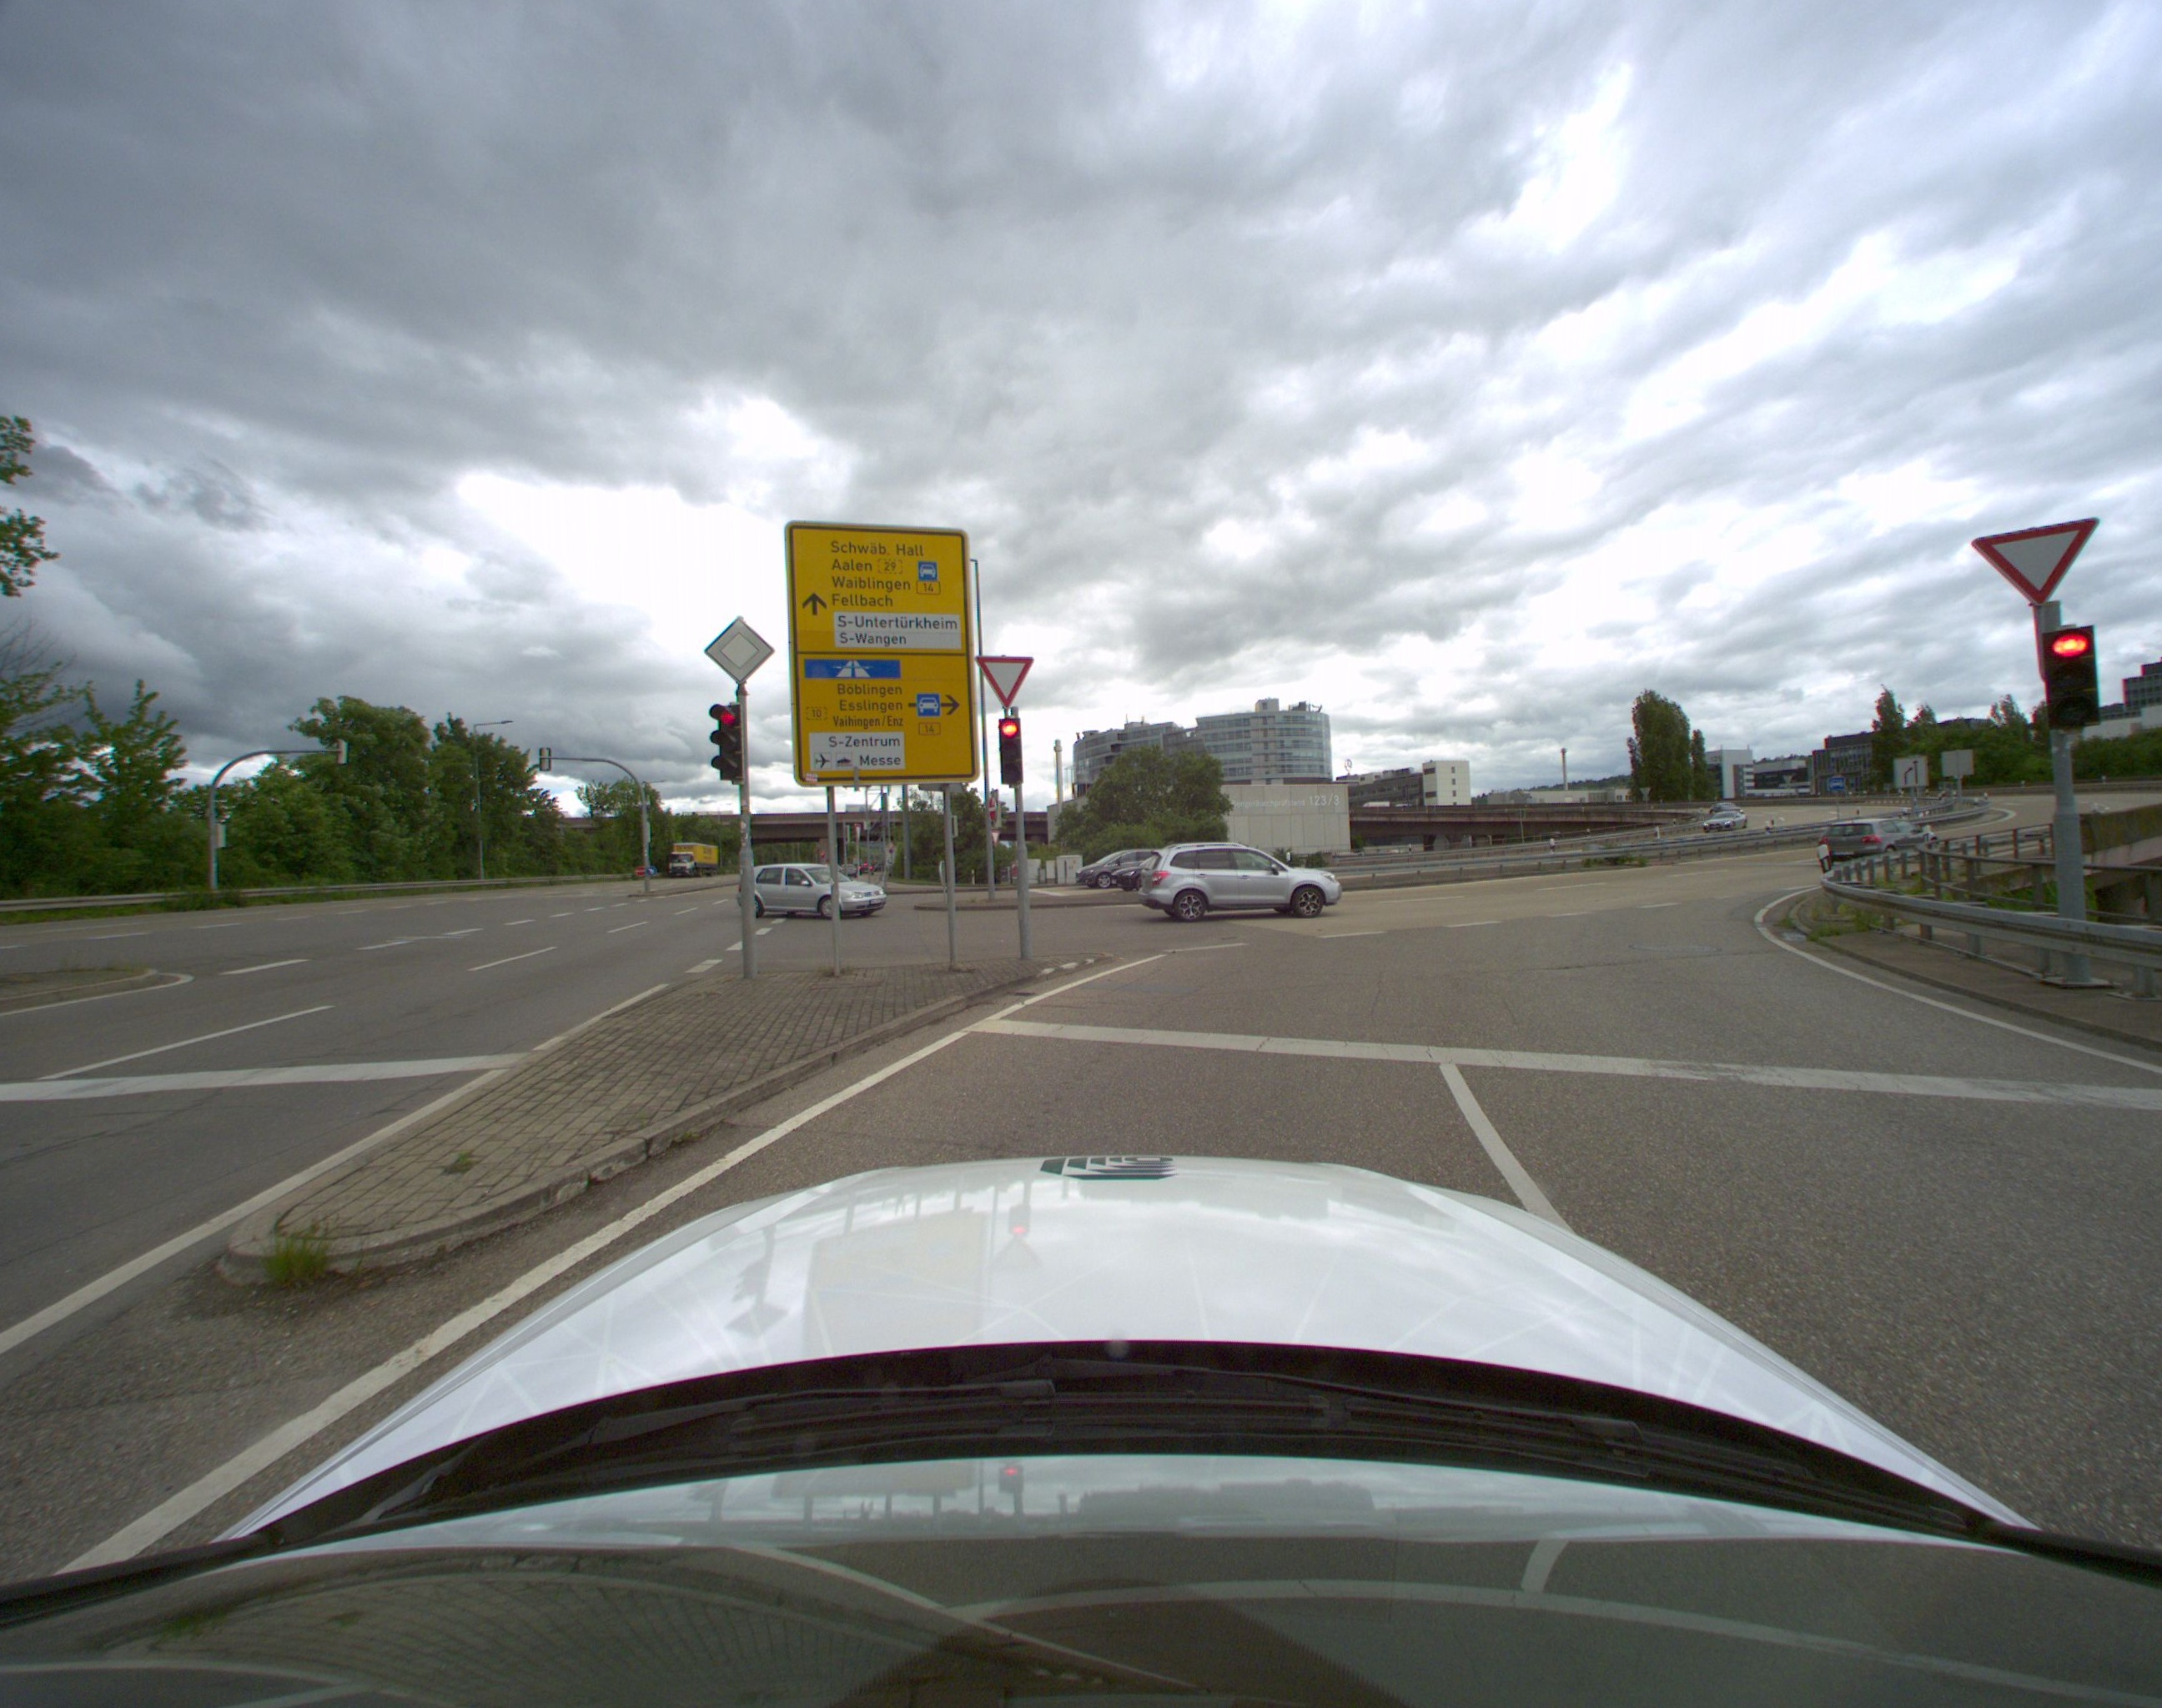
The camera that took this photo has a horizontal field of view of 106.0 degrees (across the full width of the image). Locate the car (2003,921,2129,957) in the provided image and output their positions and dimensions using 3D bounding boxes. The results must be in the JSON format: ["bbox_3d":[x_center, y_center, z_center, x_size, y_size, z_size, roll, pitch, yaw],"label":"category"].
[{"bbox_3d":[50.326,4.311,41.682,1.832,1.354,3.827,-3,1,-29],"label":"car"}]

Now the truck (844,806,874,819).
[{"bbox_3d":[-41.120,-7.716,150.891,5.033,2.321,2.004,-1,0,6],"label":"truck"}]

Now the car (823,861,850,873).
[{"bbox_3d":[-43.473,2.293,144.694,3.960,1.860,2.007,2,0,12],"label":"car"}]

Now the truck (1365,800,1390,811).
[{"bbox_3d":[63.868,-10.438,175.476,4.568,2.171,2.002,2,0,3],"label":"truck"}]

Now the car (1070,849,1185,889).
[{"bbox_3d":[2.041,0.632,35.980,4.689,1.571,1.945,-1,1,-17],"label":"car"}]

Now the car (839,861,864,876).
[{"bbox_3d":[-24.169,1.525,85.780,1.992,1.442,4.098,-1,-2,-8],"label":"car"}]

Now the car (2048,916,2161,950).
[{"bbox_3d":[54.911,4.180,43.552,1.832,1.354,3.827,-3,1,-29],"label":"car"}]

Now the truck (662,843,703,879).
[{"bbox_3d":[-47.727,0.810,97.677,2.874,4.084,6.459,1,0,-12],"label":"truck"}]

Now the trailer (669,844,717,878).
[{"bbox_3d":[-48.862,0.820,103.012,2.874,4.084,11.378,1,0,-12],"label":"trailer"}]

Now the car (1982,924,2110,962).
[{"bbox_3d":[48.169,4.400,40.730,1.832,1.354,3.827,-3,1,-29],"label":"car"}]

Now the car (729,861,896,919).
[{"bbox_3d":[-7.233,0.970,21.973,4.018,1.400,1.739,-2,0,21],"label":"car"}]

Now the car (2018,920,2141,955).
[{"bbox_3d":[52.215,4.325,42.663,1.832,1.354,3.827,-3,1,-29],"label":"car"}]

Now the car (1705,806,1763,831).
[{"bbox_3d":[49.731,-2.669,62.018,4.762,1.662,1.897,2,0,-31],"label":"car"}]

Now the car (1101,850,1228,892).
[{"bbox_3d":[3.279,0.643,32.181,4.621,1.457,1.943,-1,1,-20],"label":"car"}]

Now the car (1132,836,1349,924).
[{"bbox_3d":[3.540,0.548,18.520,4.531,1.737,1.728,-2,0,-4],"label":"car"}]

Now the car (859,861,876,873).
[{"bbox_3d":[-27.928,1.678,106.702,1.995,1.464,4.091,0,-2,-13],"label":"car"}]

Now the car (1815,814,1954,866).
[{"bbox_3d":[26.107,-0.461,26.444,4.249,1.461,1.716,-3,0,-23],"label":"car"}]
